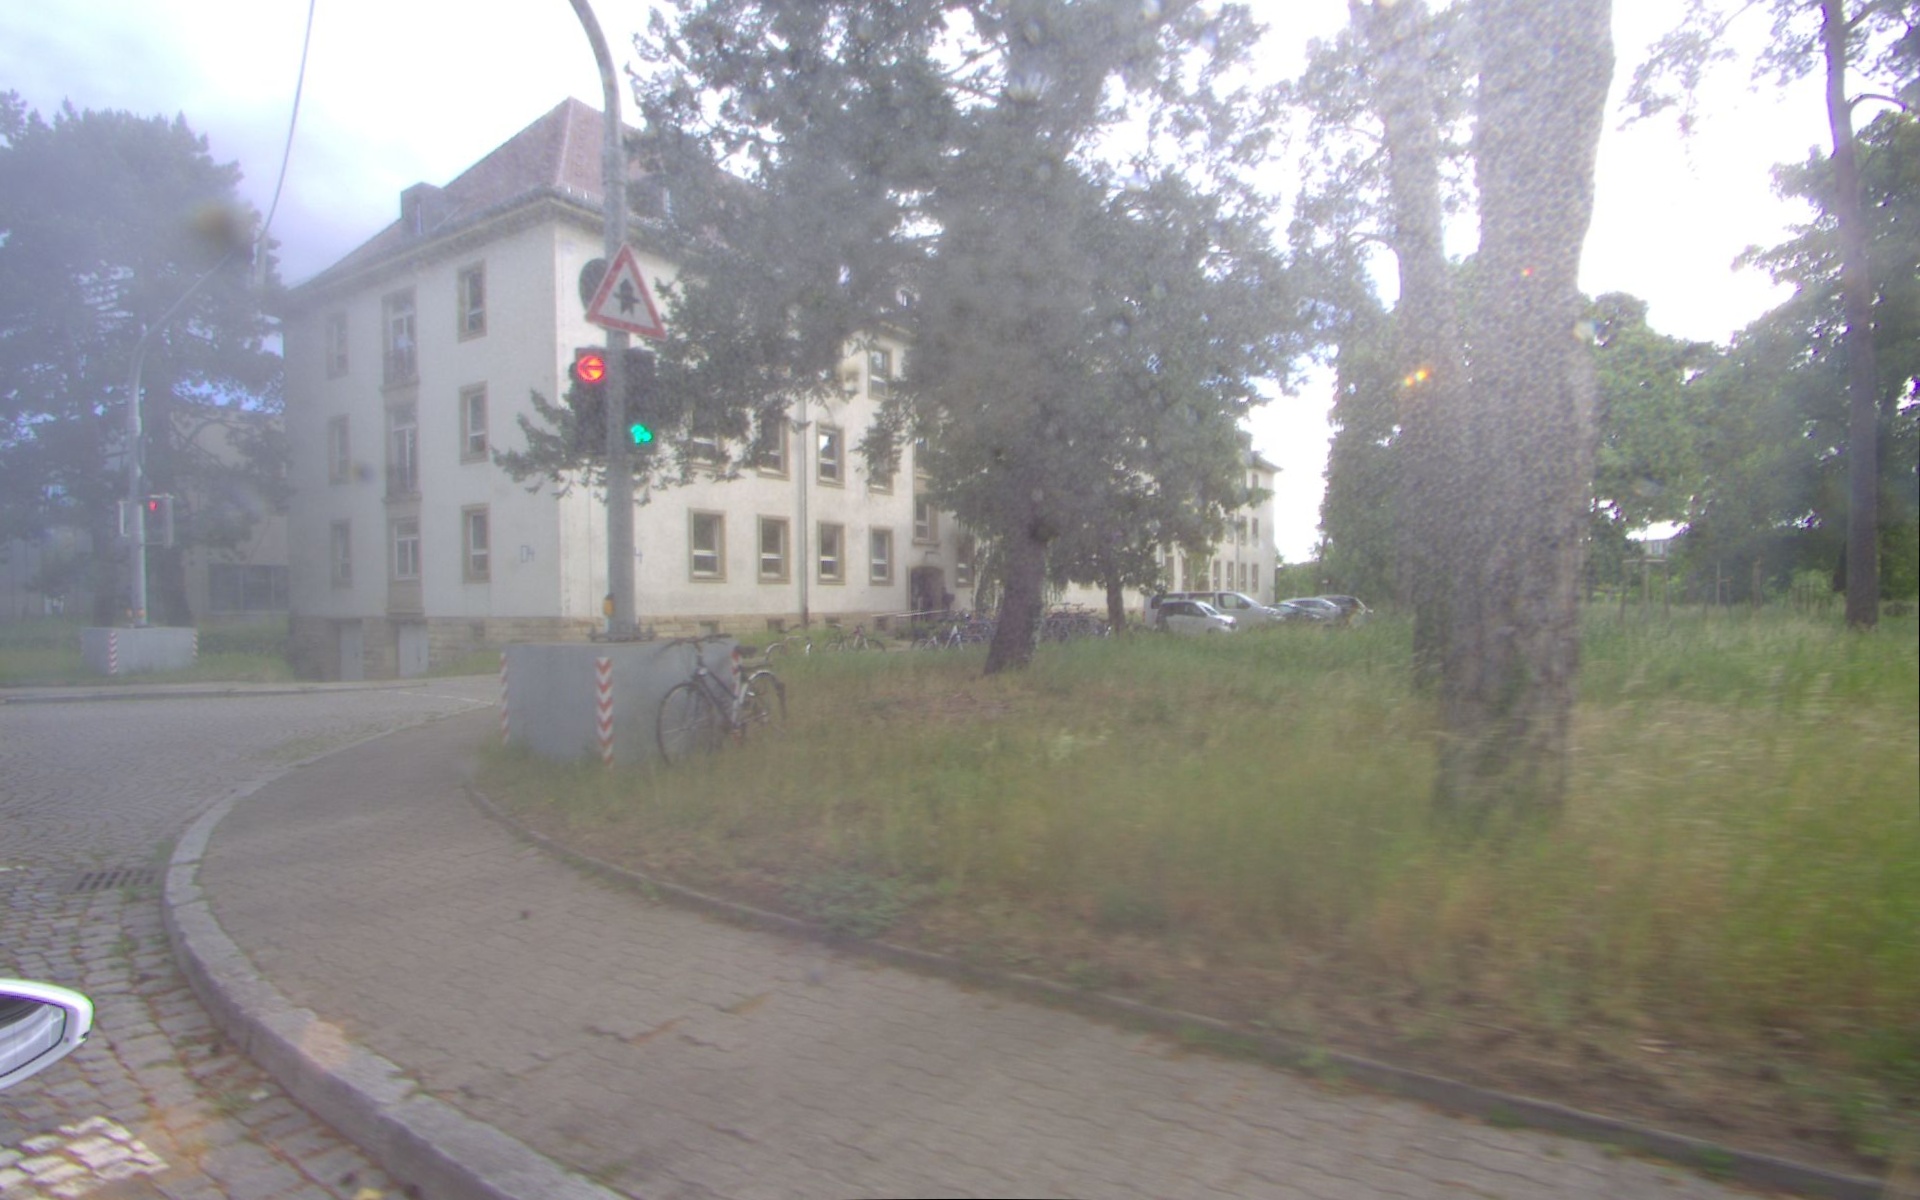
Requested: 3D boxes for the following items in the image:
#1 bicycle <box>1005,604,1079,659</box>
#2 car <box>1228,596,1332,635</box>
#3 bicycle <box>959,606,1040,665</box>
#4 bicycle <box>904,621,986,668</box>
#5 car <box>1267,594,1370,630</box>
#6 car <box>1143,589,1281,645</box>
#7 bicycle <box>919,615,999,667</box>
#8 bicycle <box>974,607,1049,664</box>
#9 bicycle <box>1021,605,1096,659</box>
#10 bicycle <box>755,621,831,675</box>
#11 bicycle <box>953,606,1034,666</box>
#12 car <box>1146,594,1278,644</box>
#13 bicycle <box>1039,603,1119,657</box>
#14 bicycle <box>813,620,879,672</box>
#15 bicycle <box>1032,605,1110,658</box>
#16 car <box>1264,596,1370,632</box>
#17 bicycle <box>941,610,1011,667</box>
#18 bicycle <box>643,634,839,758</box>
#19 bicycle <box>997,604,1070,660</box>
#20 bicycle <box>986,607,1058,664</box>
[{"bbox_3d":[2.066,0.781,25.465,1.915,1.337,0.551,0,1,40],"label":"bicycle"},{"bbox_3d":[13.949,0.644,43.668,3.946,1.639,1.988,0,0,35],"label":"car"},{"bbox_3d":[0.914,0.819,23.619,1.951,1.337,0.574,0,1,40],"label":"bicycle"},{"bbox_3d":[-0.350,0.949,21.698,1.879,0.962,0.539,0,0,39],"label":"bicycle"},{"bbox_3d":[18.356,0.604,51.323,4.632,1.796,1.988,0,0,35],"label":"car"},{"bbox_3d":[9.314,0.596,36.913,4.776,1.935,2.236,0,0,19],"label":"car"},{"bbox_3d":[-0.031,0.891,22.268,1.879,1.116,0.539,0,0,40],"label":"bicycle"},{"bbox_3d":[1.222,0.832,24.121,1.896,1.337,0.503,0,1,40],"label":"bicycle"},{"bbox_3d":[2.525,0.795,25.834,1.991,1.337,0.538,0,1,40],"label":"bicycle"},{"bbox_3d":[-3.260,0.914,19.697,0.523,0.993,1.617,0,0,33],"label":"bicycle"},{"bbox_3d":[0.758,0.806,23.039,2.023,1.337,0.435,0,1,40],"label":"bicycle"},{"bbox_3d":[8.398,0.598,33.436,3.879,1.550,1.850,0,0,36],"label":"car"},{"bbox_3d":[3.189,0.775,26.925,2.076,1.385,0.754,0,1,39],"label":"bicycle"},{"bbox_3d":[-2.405,0.956,21.234,0.535,1.028,1.533,0,0,33],"label":"bicycle"},{"bbox_3d":[2.894,0.806,26.268,2.106,1.337,0.552,0,1,40],"label":"bicycle"},{"bbox_3d":[17.181,0.661,48.267,4.455,1.639,1.988,0,0,35],"label":"car"},{"bbox_3d":[0.348,0.858,22.708,1.619,1.232,0.539,0,1,39],"label":"bicycle"},{"bbox_3d":[-1.789,0.755,8.427,0.565,0.886,1.695,1,0,34],"label":"bicycle"},{"bbox_3d":[1.812,0.771,24.902,1.830,1.337,0.553,0,1,39],"label":"bicycle"},{"bbox_3d":[1.495,0.839,24.479,1.895,1.337,0.390,0,1,40],"label":"bicycle"}]
